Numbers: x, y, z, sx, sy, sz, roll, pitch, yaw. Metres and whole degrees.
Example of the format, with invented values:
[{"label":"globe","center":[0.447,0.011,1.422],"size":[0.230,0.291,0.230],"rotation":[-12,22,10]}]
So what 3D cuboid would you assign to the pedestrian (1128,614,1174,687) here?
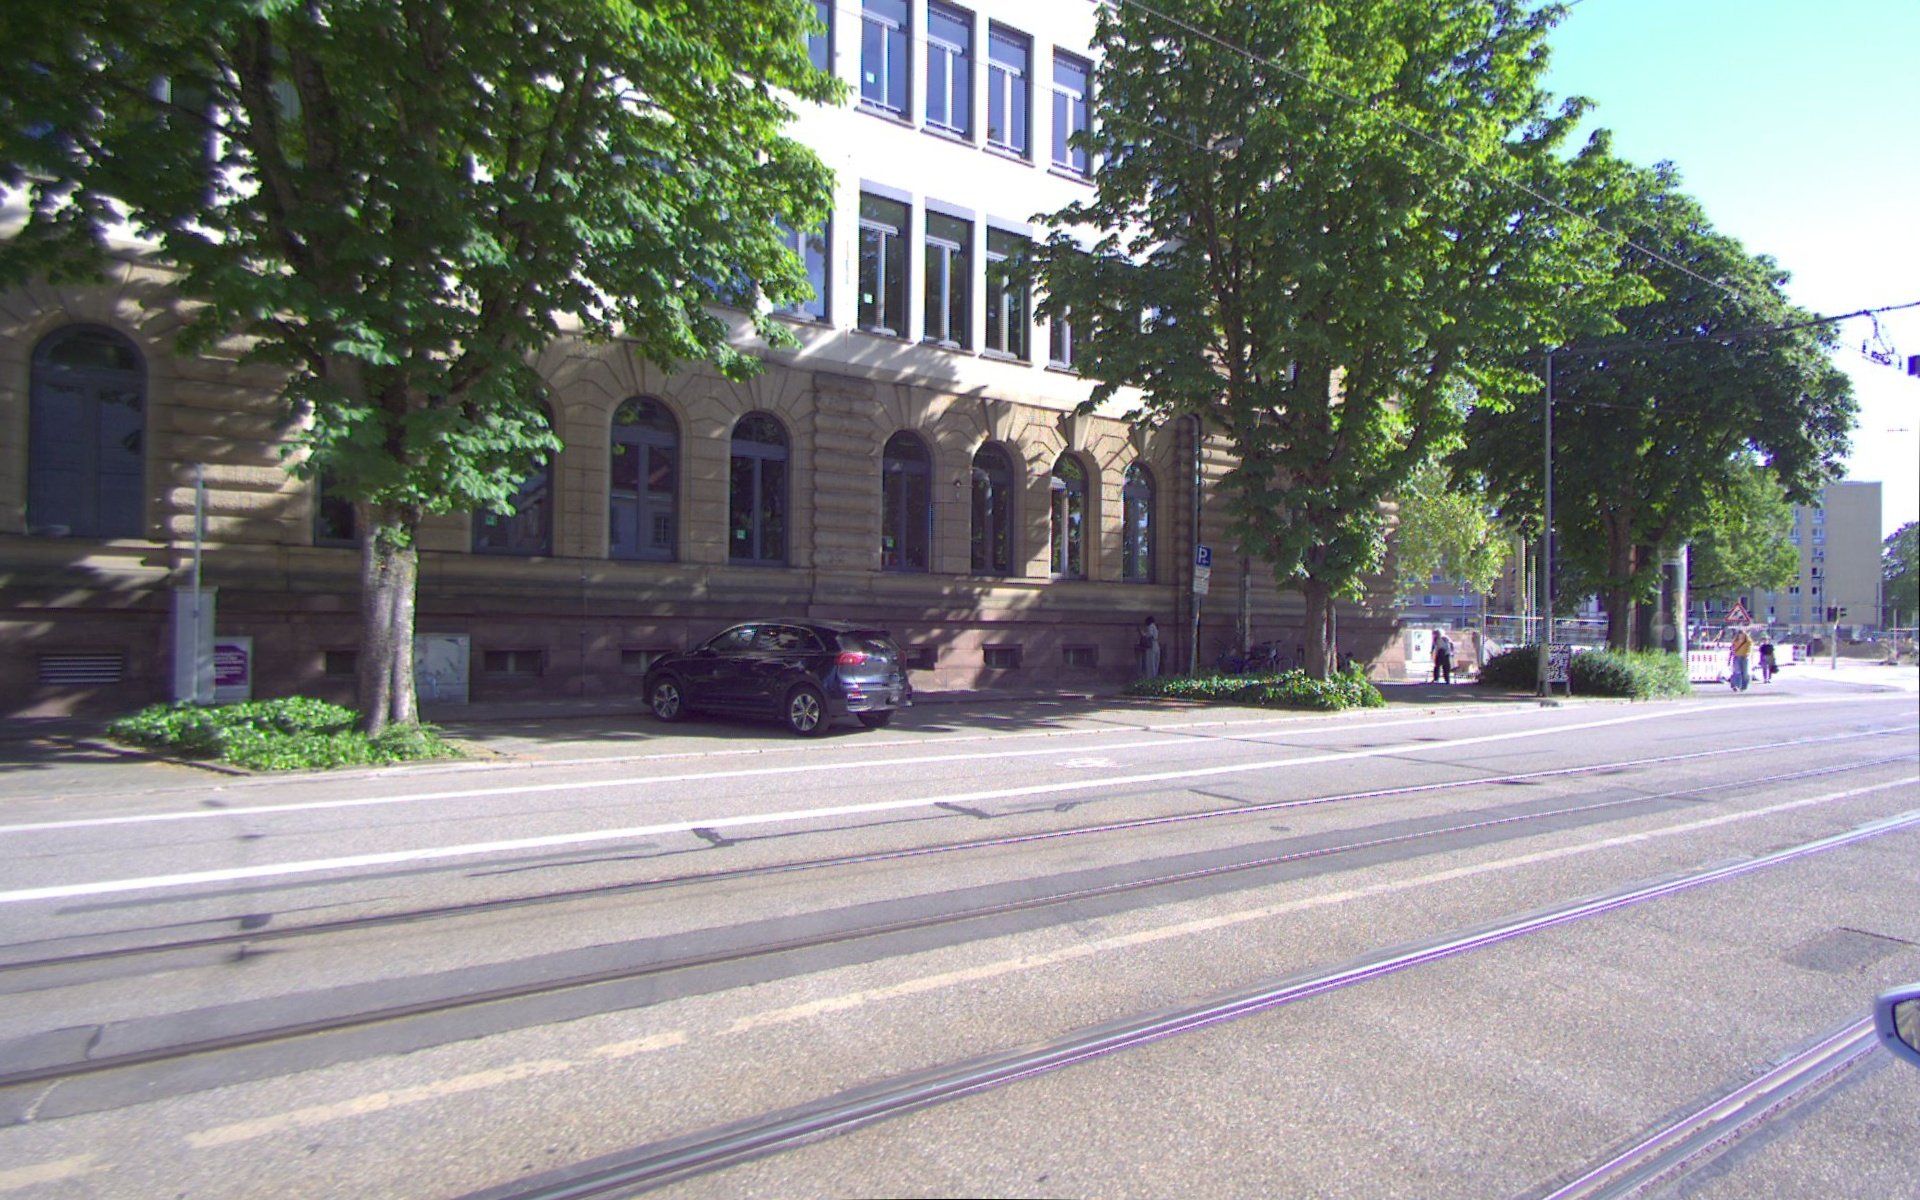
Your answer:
[{"label":"pedestrian","center":[4.517,1.182,23.761],"size":[0.751,1.657,0.696],"rotation":[1,1,-32]}]

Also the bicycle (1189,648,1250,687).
[{"label":"bicycle","center":[6.446,1.661,24.938],"size":[1.601,0.929,0.478],"rotation":[2,-2,-31]}]

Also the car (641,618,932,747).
[{"label":"car","center":[-2.583,1.103,14.752],"size":[3.929,1.570,1.874],"rotation":[1,-1,31]}]

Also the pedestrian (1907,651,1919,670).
[{"label":"pedestrian","center":[53.146,3.356,55.639],"size":[0.648,1.060,0.893],"rotation":[2,-2,-31]}]

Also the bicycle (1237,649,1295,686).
[{"label":"bicycle","center":[7.889,1.728,25.889],"size":[1.601,0.929,0.478],"rotation":[2,-2,-31]}]

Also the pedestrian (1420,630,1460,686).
[{"label":"pedestrian","center":[13.480,1.619,28.231],"size":[0.908,1.524,0.703],"rotation":[0,-1,36]}]

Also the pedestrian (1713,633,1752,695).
[{"label":"pedestrian","center":[21.844,1.797,28.404],"size":[0.812,1.719,0.631],"rotation":[2,-3,-38]}]

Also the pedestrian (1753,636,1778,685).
[{"label":"pedestrian","center":[28.692,2.139,35.779],"size":[0.675,1.719,0.612],"rotation":[2,-2,-45]}]

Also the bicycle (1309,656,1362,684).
[{"label":"bicycle","center":[10.283,1.916,27.483],"size":[1.601,0.734,0.478],"rotation":[2,-2,-31]}]
